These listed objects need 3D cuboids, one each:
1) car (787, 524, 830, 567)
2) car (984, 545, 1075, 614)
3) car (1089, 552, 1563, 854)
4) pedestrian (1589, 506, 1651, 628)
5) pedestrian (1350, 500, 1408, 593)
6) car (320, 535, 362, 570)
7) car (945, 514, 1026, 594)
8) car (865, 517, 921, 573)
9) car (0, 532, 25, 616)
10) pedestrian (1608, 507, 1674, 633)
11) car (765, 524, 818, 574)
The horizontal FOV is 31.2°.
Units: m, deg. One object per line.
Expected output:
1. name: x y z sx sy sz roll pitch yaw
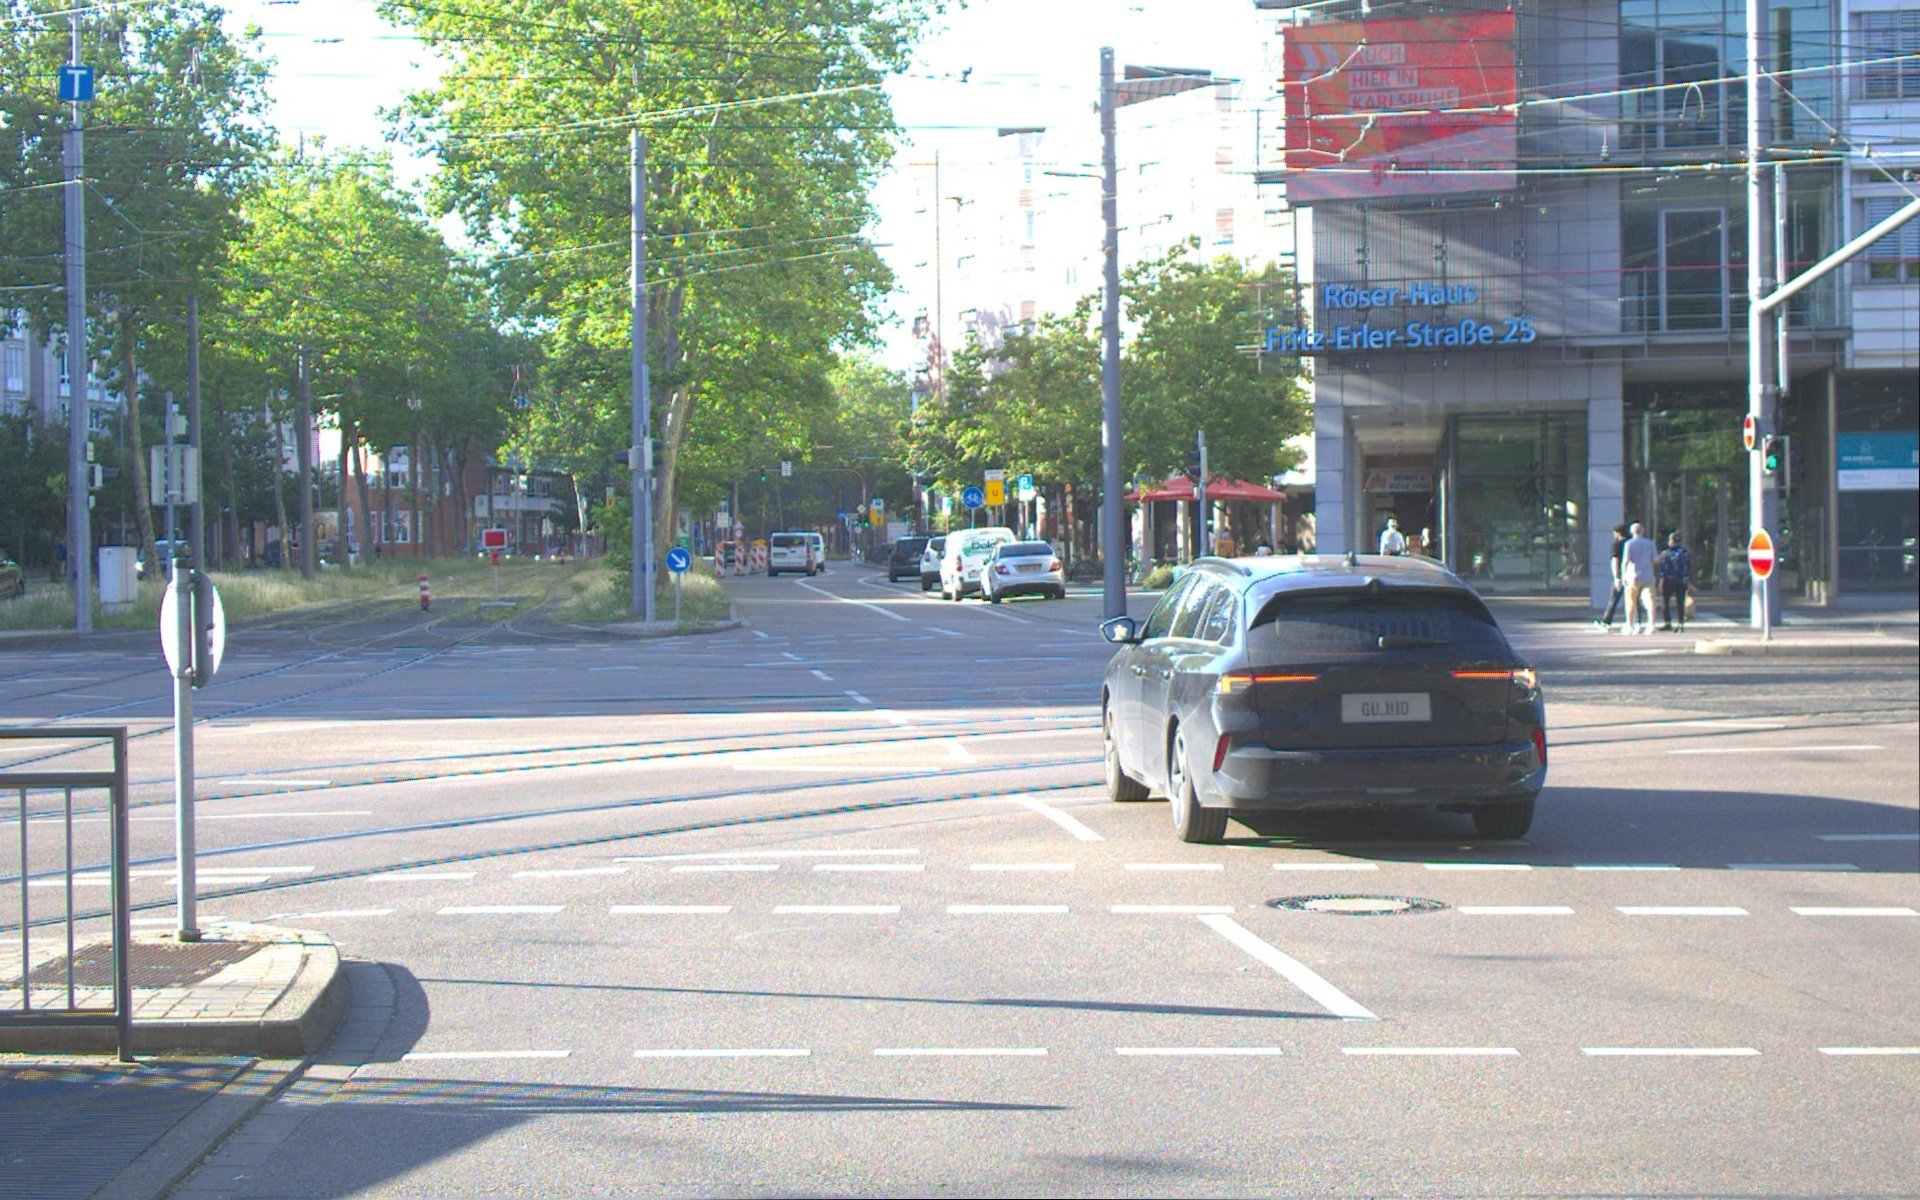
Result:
1. car: -7.223 -2.585 164.041 1.993 2.007 4.000 1 1 -2
2. car: 1.645 -0.506 82.806 2.029 1.590 4.000 1 1 -1
3. car: 1.810 0.457 18.347 1.763 1.399 4.297 0 1 -4
4. pedestrian: 11.014 -0.547 57.384 0.849 2.007 0.708 1 0 -4
5. pedestrian: 9.954 -1.278 81.776 1.313 2.182 1.170 1 0 6
6. car: -29.021 -2.236 161.310 1.676 1.601 4.001 1 1 -6
7. car: 0.643 -1.203 89.542 1.993 2.007 4.000 1 1 -1
8. car: -2.446 -2.017 126.612 1.993 2.007 4.000 1 1 -1
9. car: -21.667 -0.566 75.065 1.822 1.784 4.001 -1 1 -7
10. pedestrian: 11.011 -0.491 55.623 0.869 2.007 0.794 1 0 -1
11. car: -7.171 -2.144 146.693 1.993 2.007 4.000 1 -1 1
